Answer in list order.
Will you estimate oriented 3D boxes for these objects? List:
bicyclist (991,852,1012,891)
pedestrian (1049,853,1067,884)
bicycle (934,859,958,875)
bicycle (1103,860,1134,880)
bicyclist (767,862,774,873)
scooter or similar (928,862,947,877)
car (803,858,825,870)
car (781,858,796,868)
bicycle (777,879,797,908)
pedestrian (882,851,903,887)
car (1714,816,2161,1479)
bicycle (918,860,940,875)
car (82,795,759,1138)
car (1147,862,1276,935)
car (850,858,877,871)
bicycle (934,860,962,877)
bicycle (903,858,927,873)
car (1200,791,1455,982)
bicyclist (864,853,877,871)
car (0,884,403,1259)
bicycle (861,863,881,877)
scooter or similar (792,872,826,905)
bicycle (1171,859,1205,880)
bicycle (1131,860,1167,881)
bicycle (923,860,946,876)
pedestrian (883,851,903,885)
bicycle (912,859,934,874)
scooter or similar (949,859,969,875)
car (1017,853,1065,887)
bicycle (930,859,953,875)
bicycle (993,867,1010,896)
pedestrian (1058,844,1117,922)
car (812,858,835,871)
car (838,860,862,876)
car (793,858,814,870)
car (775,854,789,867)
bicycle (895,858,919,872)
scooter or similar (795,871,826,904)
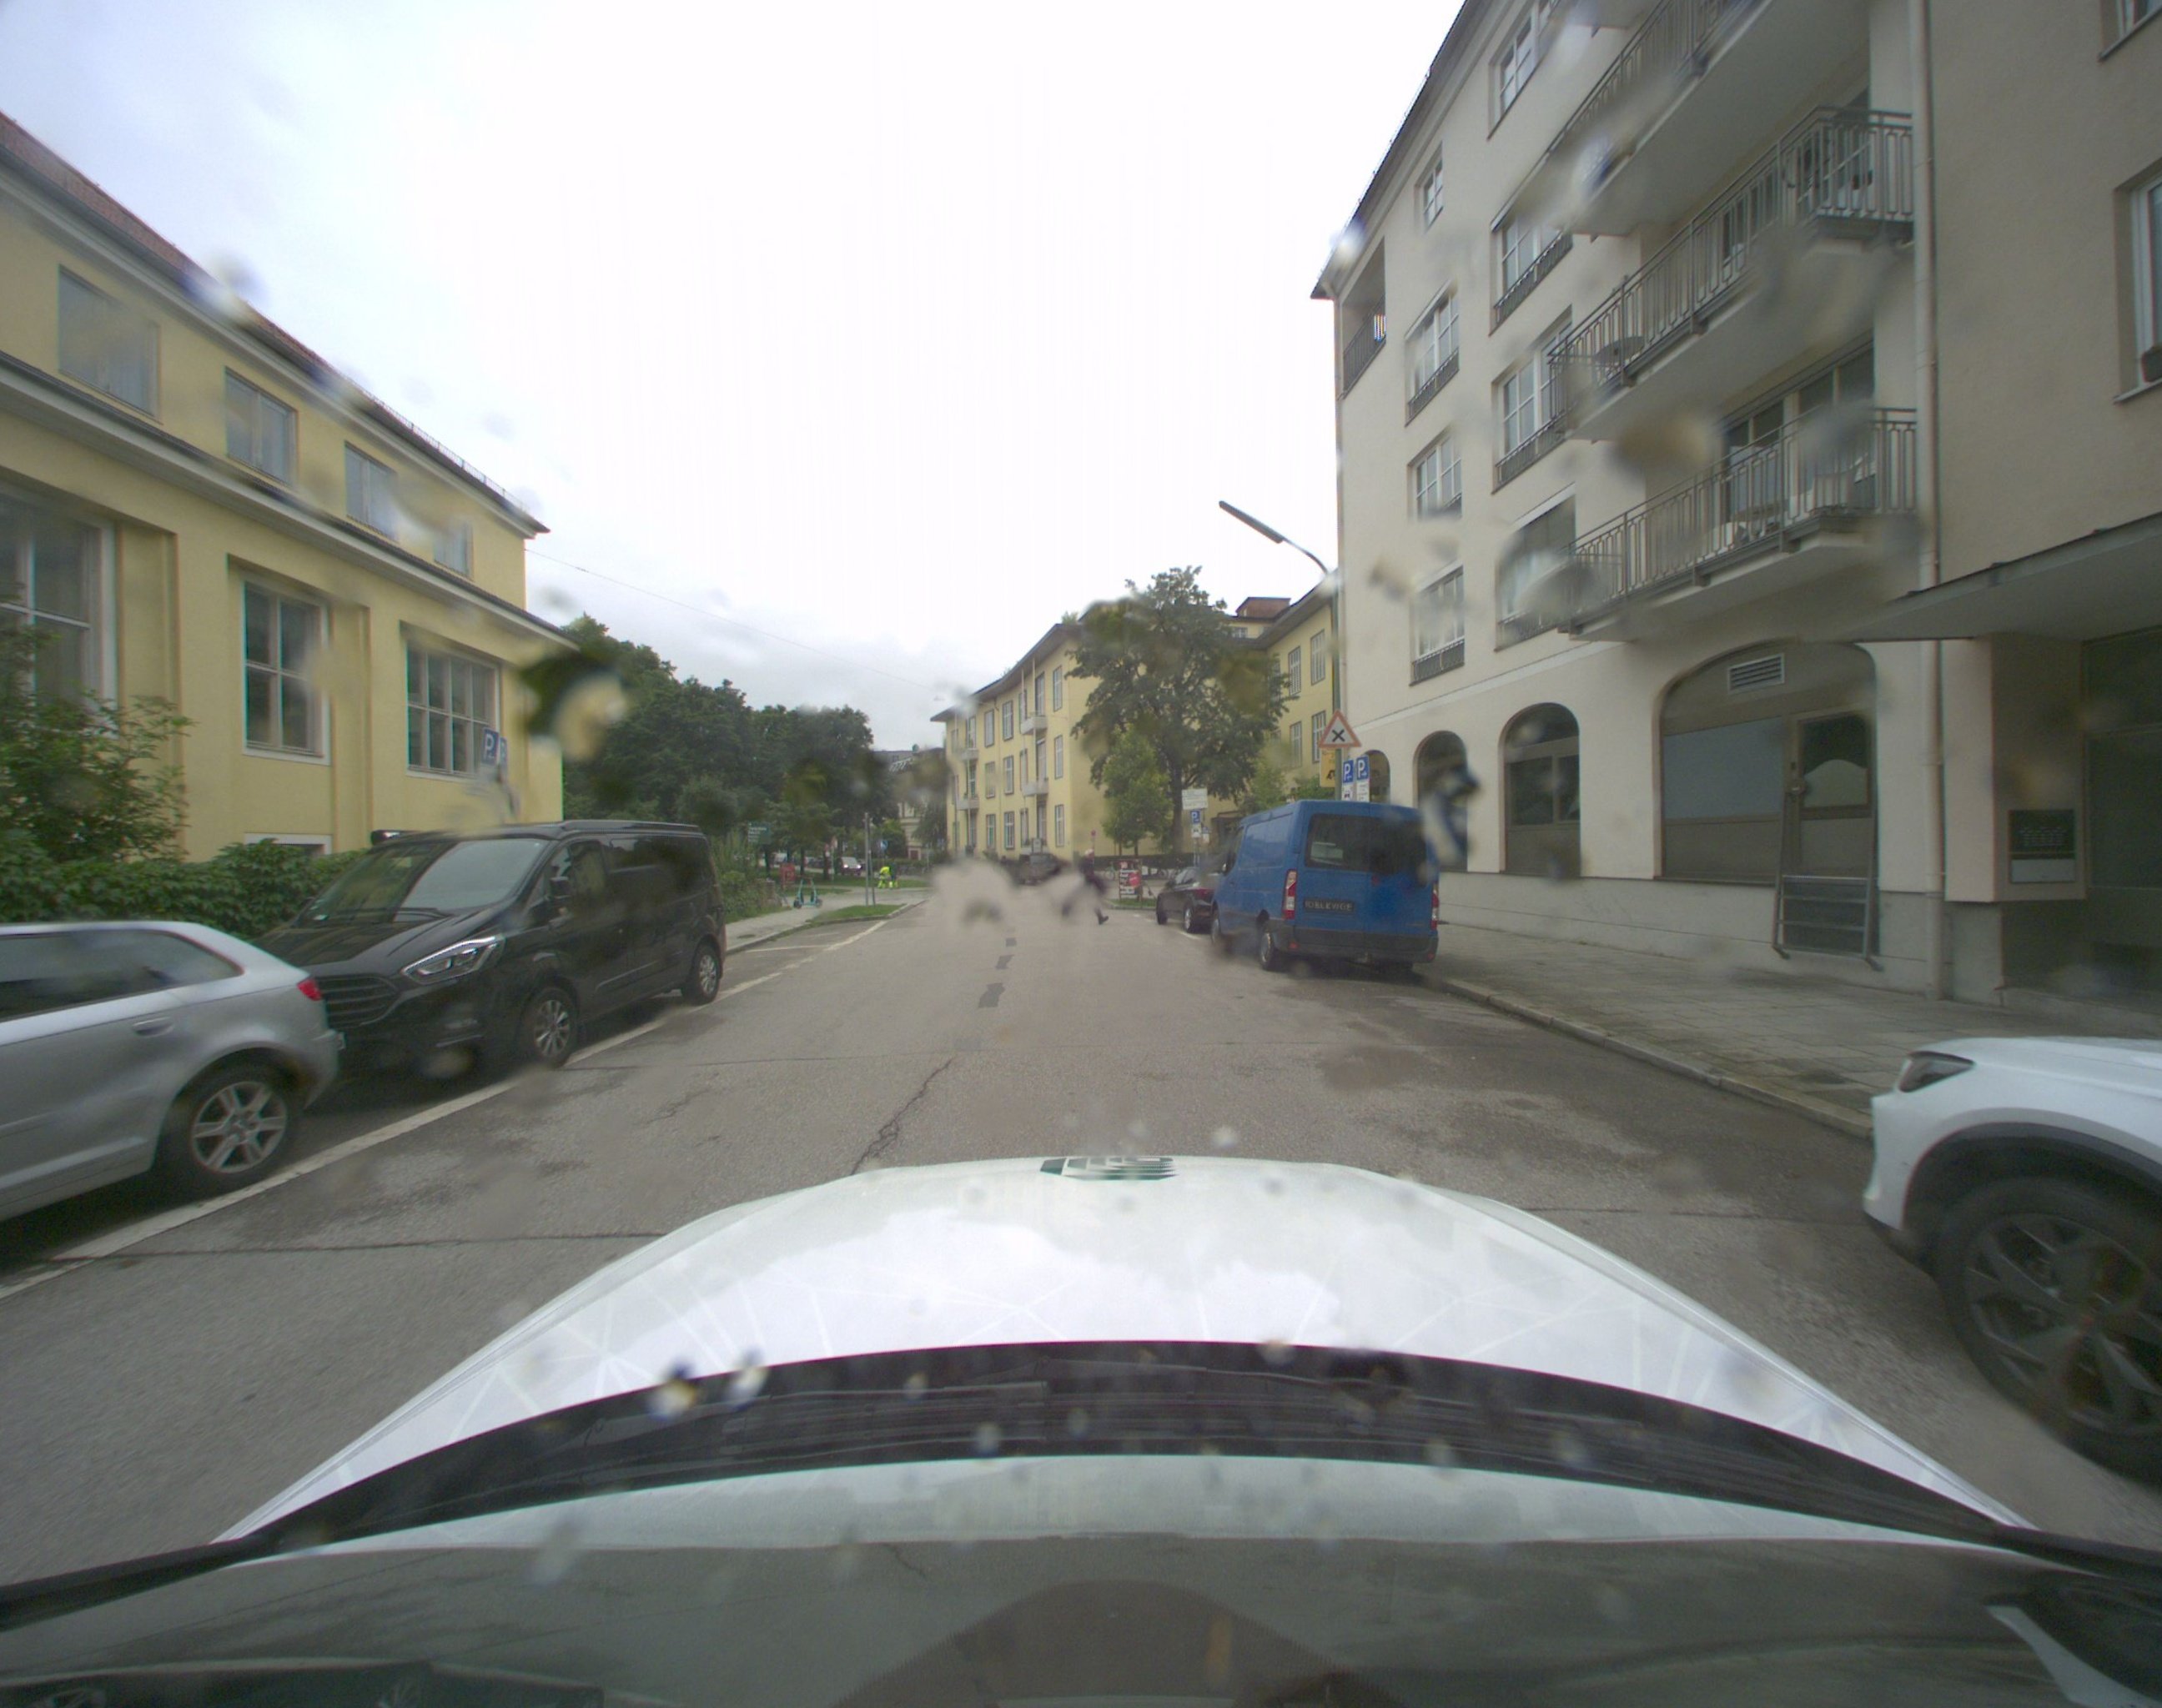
[{"bbox_3d":[-3.299,0.718,33.867,0.862,1.607,0.945,-1,-1,-6],"label":"bicyclist"},{"bbox_3d":[-1.394,0.881,49.682,0.876,1.823,0.794,-1,0,-17],"label":"pedestrian"},{"bbox_3d":[-11.501,1.138,69.408,0.725,1.305,2.169,-1,0,30],"label":"bicycle"},{"bbox_3d":[2.302,0.968,50.240,1.903,1.201,0.599,-1,0,40],"label":"bicycle"},{"bbox_3d":[-42.642,1.797,111.722,0.800,1.470,0.885,-1,0,-30],"label":"bicyclist"},{"bbox_3d":[-12.428,1.323,70.554,0.725,1.305,1.741,-1,0,27],"label":"scooter or similar"},{"bbox_3d":[-37.248,1.415,113.360,2.007,1.606,3.959,-1,0,-32],"label":"car"},{"bbox_3d":[-47.227,1.464,131.542,2.002,1.606,3.970,-1,0,-22],"label":"car"},{"bbox_3d":[-10.701,1.430,29.633,0.545,0.974,1.145,-1,0,-26],"label":"bicycle"},{"bbox_3d":[-10.821,0.836,46.806,0.929,2.013,0.956,-1,0,-1],"label":"pedestrian"},{"bbox_3d":[3.441,0.712,0.885,1.780,1.533,4.645,2,0,-2],"label":"car"},{"bbox_3d":[-13.377,1.191,71.728,0.725,1.305,2.169,-1,0,30],"label":"bicycle"},{"bbox_3d":[-5.194,0.711,7.792,2.068,1.964,5.345,-5,0,-2],"label":"car"},{"bbox_3d":[2.848,0.944,18.786,1.676,1.389,4.293,3,-1,-8],"label":"car"},{"bbox_3d":[-24.522,1.230,91.694,2.006,1.372,3.961,-1,0,-30],"label":"car"},{"bbox_3d":[-10.994,1.197,67.343,2.168,1.305,0.725,-1,0,-43],"label":"bicycle"},{"bbox_3d":[-15.769,1.095,77.245,2.158,1.305,0.729,-1,0,-23],"label":"bicycle"},{"bbox_3d":[3.418,0.425,12.596,2.074,2.233,5.239,3,-1,-3],"label":"car"},{"bbox_3d":[-17.822,0.671,68.891,0.749,1.521,0.934,-2,0,-40],"label":"bicyclist"},{"bbox_3d":[-5.125,0.963,2.725,1.688,1.393,4.503,-5,0,2],"label":"car"},{"bbox_3d":[-17.796,1.350,68.885,0.749,1.215,2.119,-2,0,-40],"label":"bicycle"},{"bbox_3d":[-10.064,1.276,30.123,1.110,1.188,0.346,-1,0,4],"label":"scooter or similar"},{"bbox_3d":[6.400,0.911,48.819,1.916,1.201,0.595,-1,0,-2],"label":"bicycle"},{"bbox_3d":[4.111,0.992,48.960,2.051,1.201,0.598,-1,0,17],"label":"bicycle"},{"bbox_3d":[-12.777,1.210,71.092,0.725,1.305,2.169,-1,0,30],"label":"bicycle"},{"bbox_3d":[-11.195,0.836,48.428,0.929,2.013,0.956,-1,0,-1],"label":"pedestrian"},{"bbox_3d":[-14.237,1.091,73.394,0.725,1.305,2.169,-1,0,30],"label":"bicycle"},{"bbox_3d":[-9.965,1.067,66.532,0.726,1.305,2.166,-1,0,18],"label":"scooter or similar"},{"bbox_3d":[-2.472,0.923,49.527,1.767,1.874,4.352,3,-1,-18],"label":"car"},{"bbox_3d":[-11.983,1.135,70.217,0.725,1.305,2.169,-1,0,30],"label":"bicycle"},{"bbox_3d":[-3.281,1.122,33.744,0.669,1.159,1.999,-1,-1,-6],"label":"bicycle"},{"bbox_3d":[0.153,0.679,19.399,0.962,1.801,0.924,0,-3,-43],"label":"pedestrian"},{"bbox_3d":[-34.320,1.399,108.603,2.007,1.606,3.959,-1,0,-32],"label":"car"},{"bbox_3d":[-22.331,1.349,78.597,1.922,1.471,3.971,-1,0,-21],"label":"car"},{"bbox_3d":[-40.196,1.432,118.112,2.007,1.606,3.959,-1,0,-32],"label":"car"},{"bbox_3d":[-51.305,1.204,139.716,2.002,2.159,3.970,-1,0,-22],"label":"car"},{"bbox_3d":[-16.913,1.069,79.035,2.158,1.305,0.729,-1,0,-23],"label":"bicycle"},{"bbox_3d":[-10.260,1.257,30.894,0.341,1.188,1.126,-1,0,33],"label":"scooter or similar"}]
